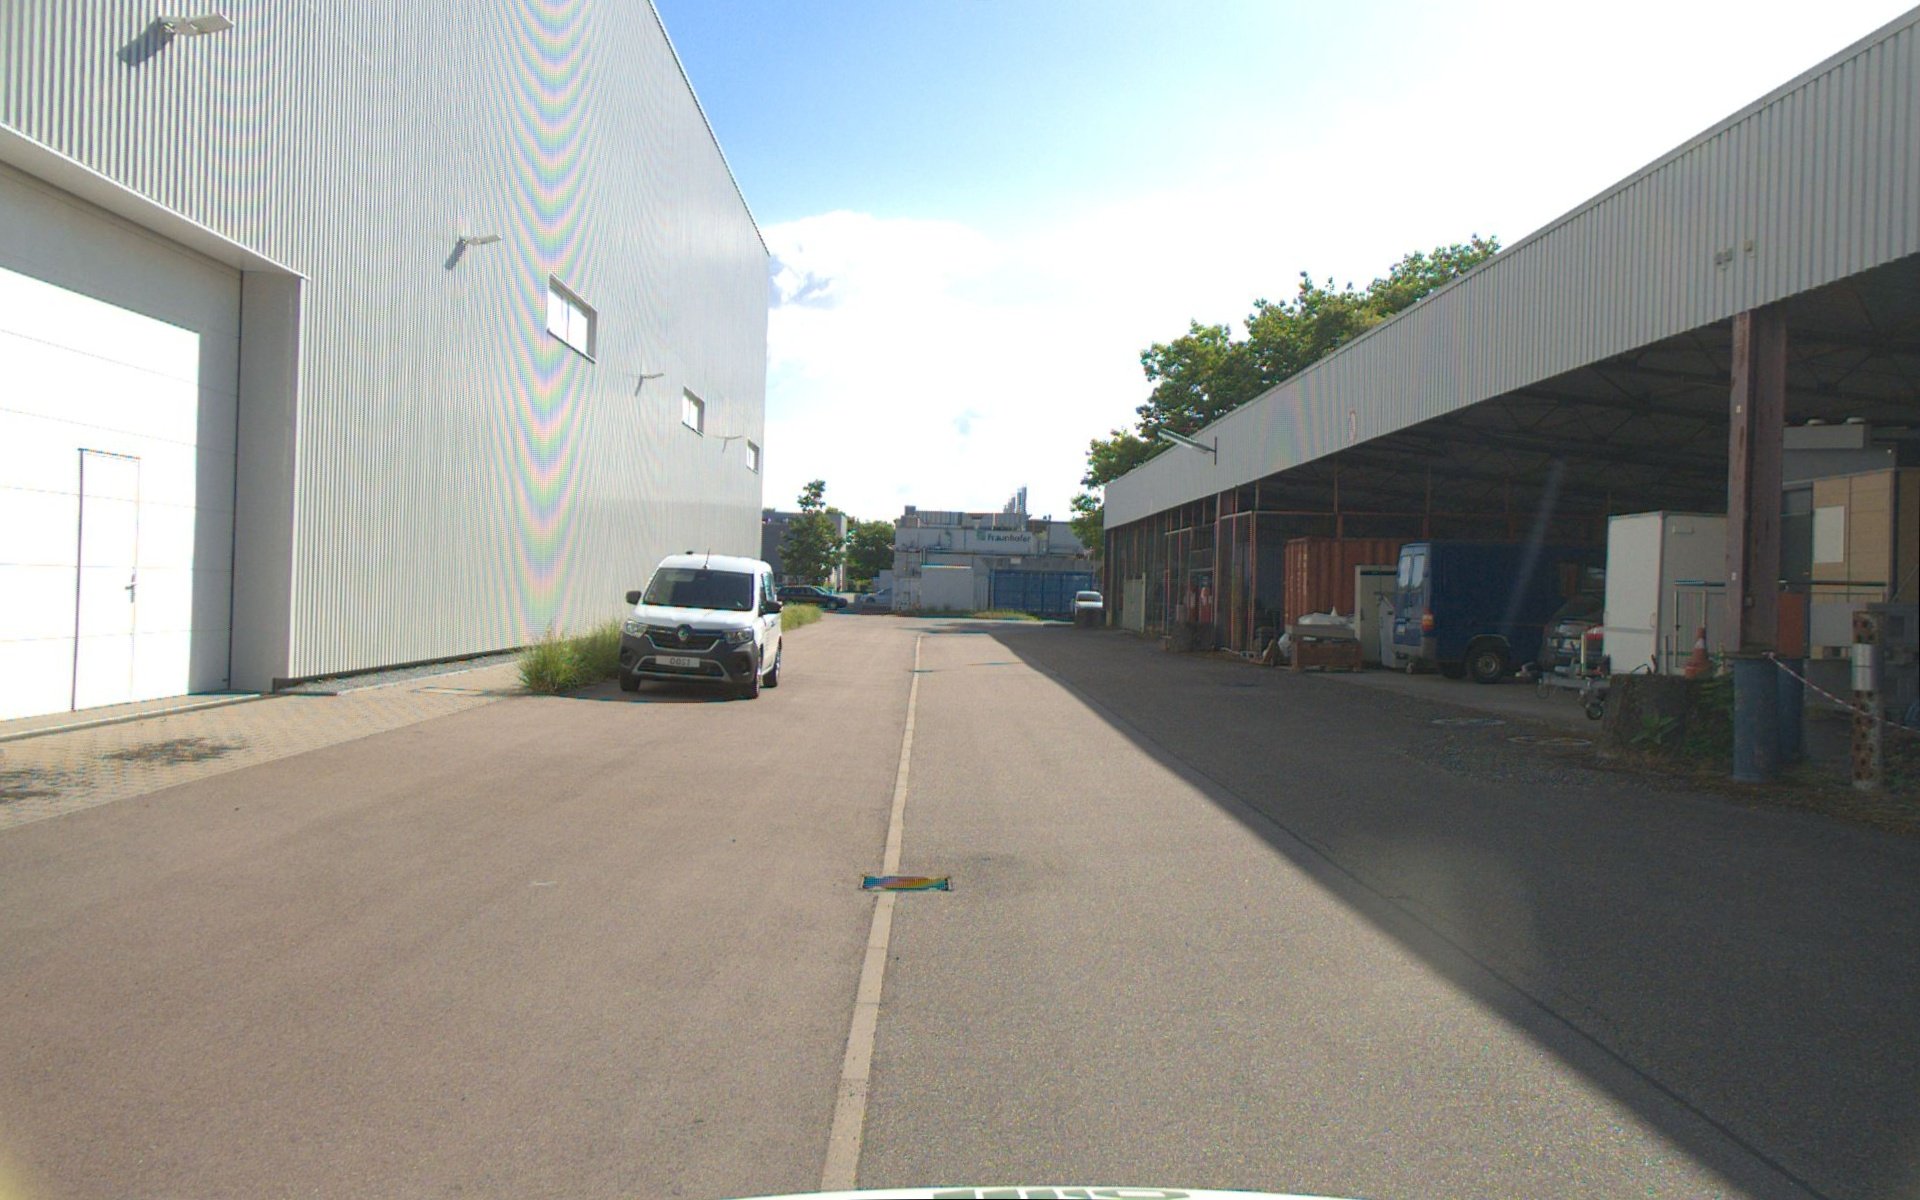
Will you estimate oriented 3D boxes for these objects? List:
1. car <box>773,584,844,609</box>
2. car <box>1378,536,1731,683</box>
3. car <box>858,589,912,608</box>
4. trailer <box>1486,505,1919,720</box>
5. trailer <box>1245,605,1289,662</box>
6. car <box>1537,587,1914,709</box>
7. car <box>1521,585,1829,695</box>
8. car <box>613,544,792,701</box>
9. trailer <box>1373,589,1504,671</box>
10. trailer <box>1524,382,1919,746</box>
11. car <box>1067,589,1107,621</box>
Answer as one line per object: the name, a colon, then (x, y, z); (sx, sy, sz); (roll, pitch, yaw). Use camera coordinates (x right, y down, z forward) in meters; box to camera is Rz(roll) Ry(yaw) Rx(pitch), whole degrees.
car: (-9.524, -0.200, 104.458); (4.358, 1.558, 1.823); (0, 0, -2)
car: (10.038, 0.160, 28.208); (5.225, 2.321, 2.152); (1, 0, -2)
car: (-5.989, -0.131, 132.448); (4.216, 1.483, 1.823); (0, 0, -2)
trailer: (8.690, 0.140, 19.376); (4.424, 2.383, 2.047); (0, 0, 0)
trailer: (6.272, 0.676, 33.833); (0.541, 1.138, 1.546); (0, 0, -3)
car: (10.079, 0.609, 21.969); (4.164, 1.497, 1.868); (1, 0, -5)
car: (10.767, 0.590, 25.072); (3.886, 1.540, 1.838); (1, 0, -5)
car: (-3.396, 0.279, 22.656); (1.747, 1.847, 4.600); (3, 0, -1)
trailer: (8.877, 0.534, 30.791); (1.996, 1.492, 1.739); (0, 0, 3)
trailer: (11.267, -0.345, 16.945); (10.059, 3.401, 2.801); (0, 0, -1)
car: (7.076, 0.268, 92.430); (1.939, 1.630, 4.378); (0, 1, 0)
